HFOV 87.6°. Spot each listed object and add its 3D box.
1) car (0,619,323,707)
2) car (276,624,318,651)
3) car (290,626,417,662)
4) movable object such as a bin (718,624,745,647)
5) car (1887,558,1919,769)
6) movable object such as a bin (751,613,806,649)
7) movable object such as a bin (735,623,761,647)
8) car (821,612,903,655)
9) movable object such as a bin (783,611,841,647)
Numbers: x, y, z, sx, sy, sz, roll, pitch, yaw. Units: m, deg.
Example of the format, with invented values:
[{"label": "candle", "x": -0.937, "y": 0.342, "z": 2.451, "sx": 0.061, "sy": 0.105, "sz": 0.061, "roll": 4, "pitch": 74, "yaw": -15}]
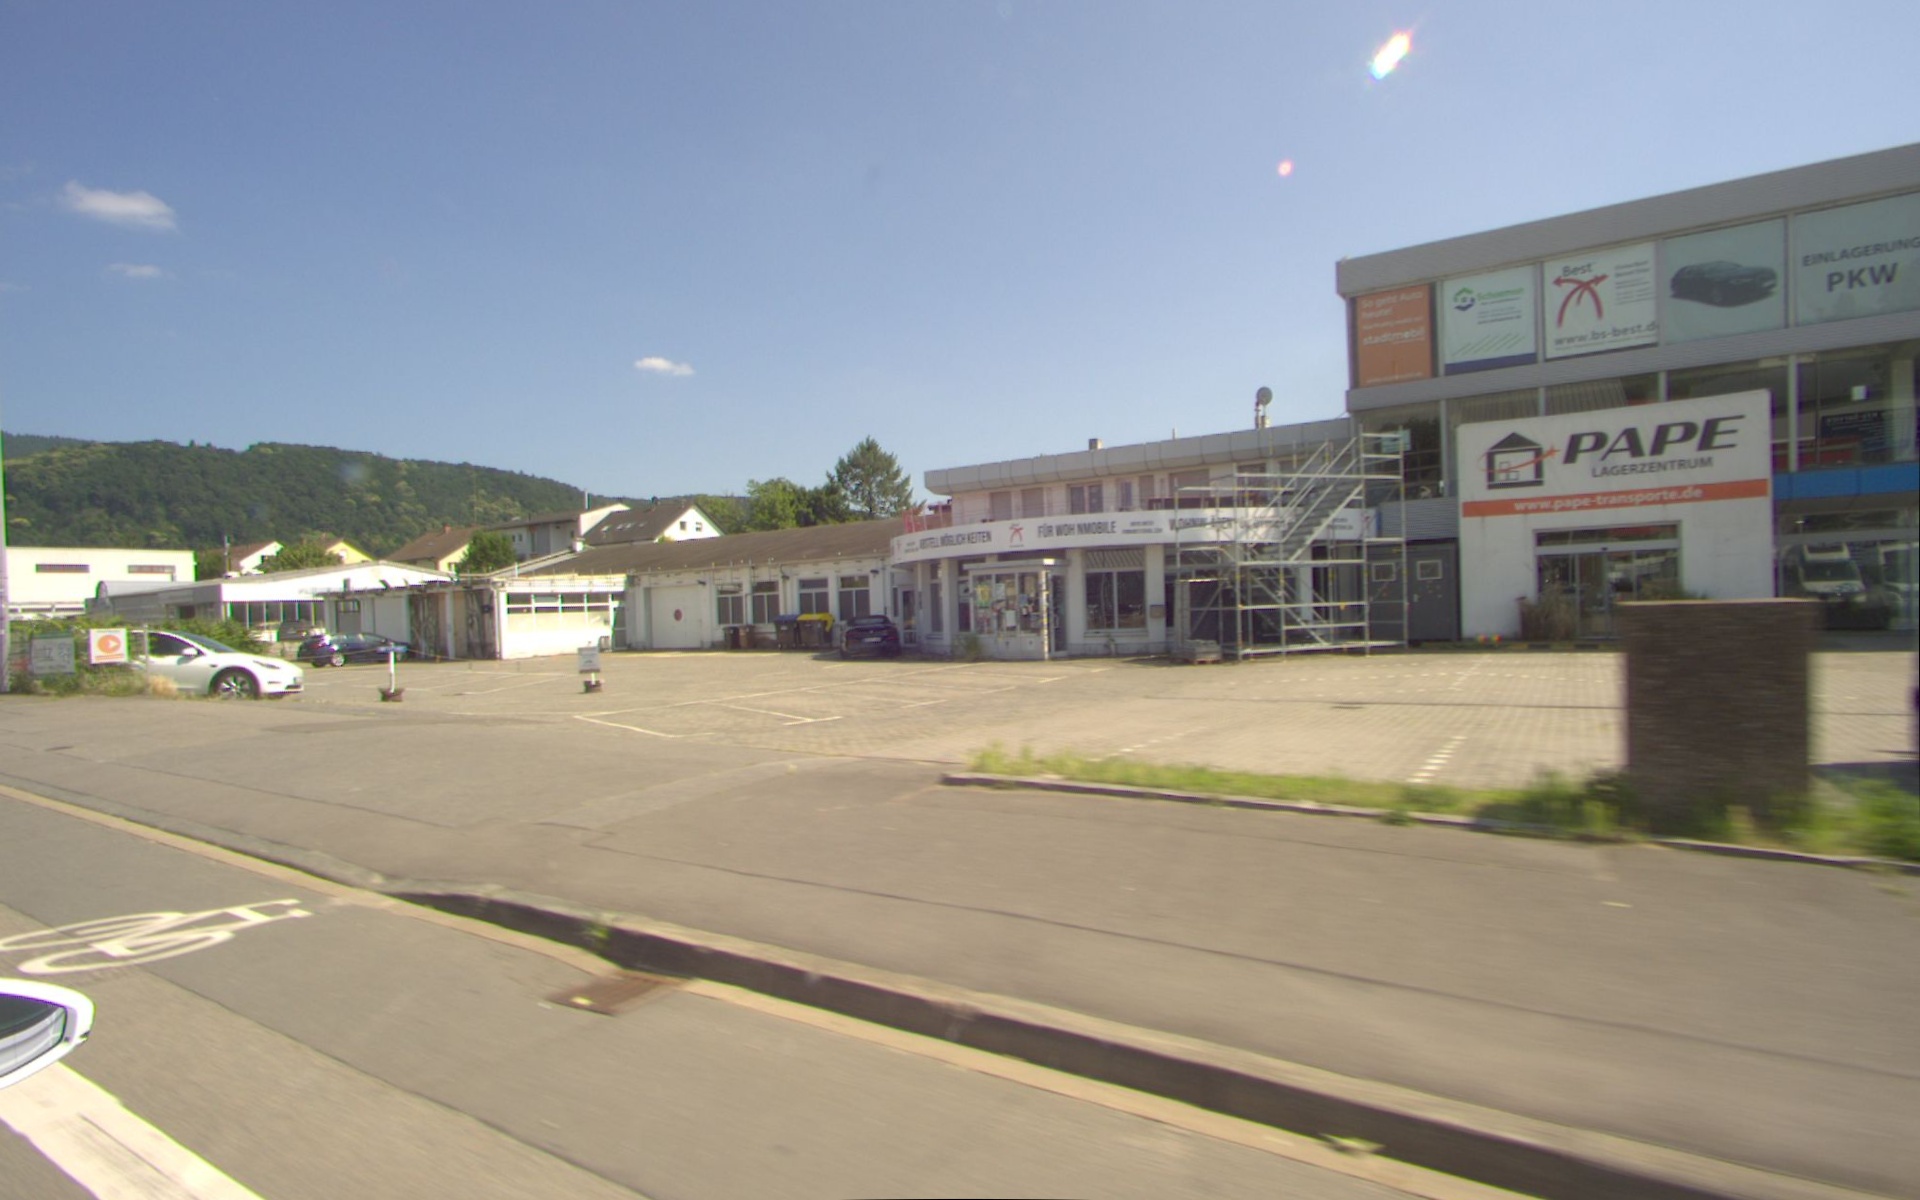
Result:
[{"label": "car", "x": -16.705, "y": 1.348, "z": 21.247, "sx": 4.956, "sy": 1.640, "sz": 2.024, "roll": -1, "pitch": -5, "yaw": -15}, {"label": "car", "x": -44.949, "y": 2.491, "z": 67.927, "sx": 1.970, "sy": 1.669, "sz": 3.981, "roll": 0, "pitch": 0, "yaw": -28}, {"label": "car", "x": -26.559, "y": 1.892, "z": 43.955, "sx": 2.092, "sy": 1.416, "sz": 4.314, "roll": -1, "pitch": 0, "yaw": 36}, {"label": "movable object such as a bin", "x": -10.287, "y": 1.587, "z": 45.086, "sx": 0.863, "sy": 1.005, "sz": 0.745, "roll": -1, "pitch": 0, "yaw": 28}, {"label": "car", "x": 7.511, "y": 0.446, "z": 6.101, "sx": 1.770, "sy": 1.613, "sz": 3.919, "roll": -1, "pitch": -1, "yaw": 28}, {"label": "movable object such as a bin", "x": -7.770, "y": 1.303, "z": 42.867, "sx": 1.728, "sy": 1.475, "sz": 1.569, "roll": -1, "pitch": 0, "yaw": 28}, {"label": "movable object such as a bin", "x": -9.451, "y": 1.564, "z": 44.586, "sx": 0.863, "sy": 1.050, "sz": 0.745, "roll": -1, "pitch": 0, "yaw": 28}, {"label": "car", "x": -3.247, "y": 1.101, "z": 32.354, "sx": 1.861, "sy": 1.306, "sz": 4.549, "roll": 0, "pitch": -2, "yaw": -16}, {"label": "movable object such as a bin", "x": -6.197, "y": 1.200, "z": 41.981, "sx": 1.797, "sy": 1.475, "sz": 1.569, "roll": -1, "pitch": 0, "yaw": 28}]
